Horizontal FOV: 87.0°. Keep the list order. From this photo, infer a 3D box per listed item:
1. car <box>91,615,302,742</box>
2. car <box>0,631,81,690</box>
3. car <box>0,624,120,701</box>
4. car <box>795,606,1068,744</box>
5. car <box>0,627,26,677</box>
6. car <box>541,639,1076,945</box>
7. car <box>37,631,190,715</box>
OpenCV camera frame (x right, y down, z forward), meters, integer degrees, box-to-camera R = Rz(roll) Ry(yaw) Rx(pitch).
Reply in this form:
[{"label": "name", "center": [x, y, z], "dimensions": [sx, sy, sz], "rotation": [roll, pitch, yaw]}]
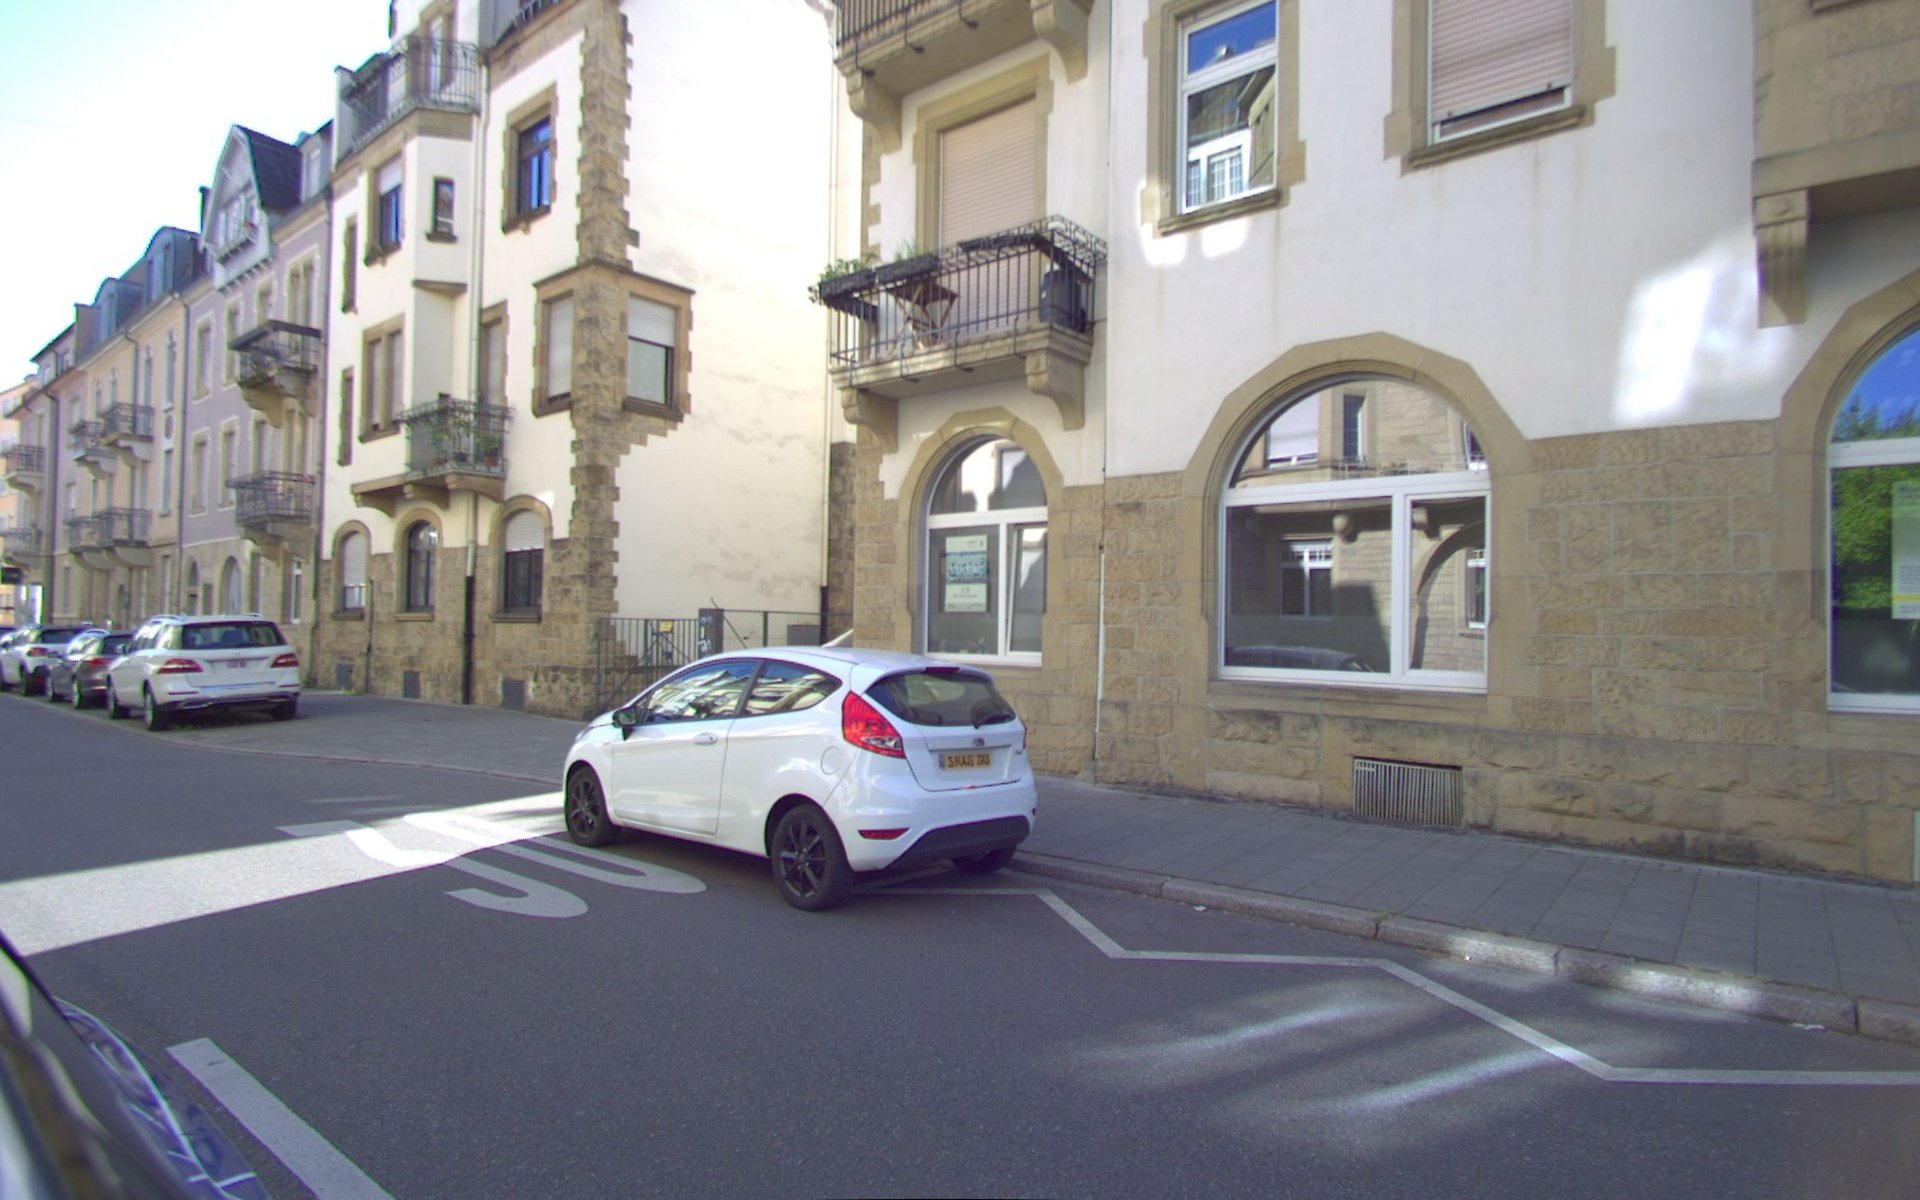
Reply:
[{"label": "car", "center": [-12.703, 1.184, 16.721], "dimensions": [4.724, 1.735, 1.872], "rotation": [-2, 0, 42]}, {"label": "car", "center": [-25.454, 1.603, 27.414], "dimensions": [3.658, 1.404, 1.658], "rotation": [-2, 0, 35]}, {"label": "car", "center": [-21.431, 1.416, 23.844], "dimensions": [4.015, 1.595, 1.698], "rotation": [-2, 0, 38]}, {"label": "car", "center": [-0.300, 1.038, 14.905], "dimensions": [1.908, 1.741, 3.928], "rotation": [-2, -3, 40]}, {"label": "car", "center": [-31.659, 1.661, 32.631], "dimensions": [3.718, 1.550, 1.698], "rotation": [-2, -2, 38]}, {"label": "car", "center": [-1.200, 1.024, 6.897], "dimensions": [3.734, 1.475, 1.616], "rotation": [-1, -3, 42]}, {"label": "car", "center": [-17.068, 1.390, 20.342], "dimensions": [4.274, 1.498, 1.558], "rotation": [-1, -1, 39]}]
